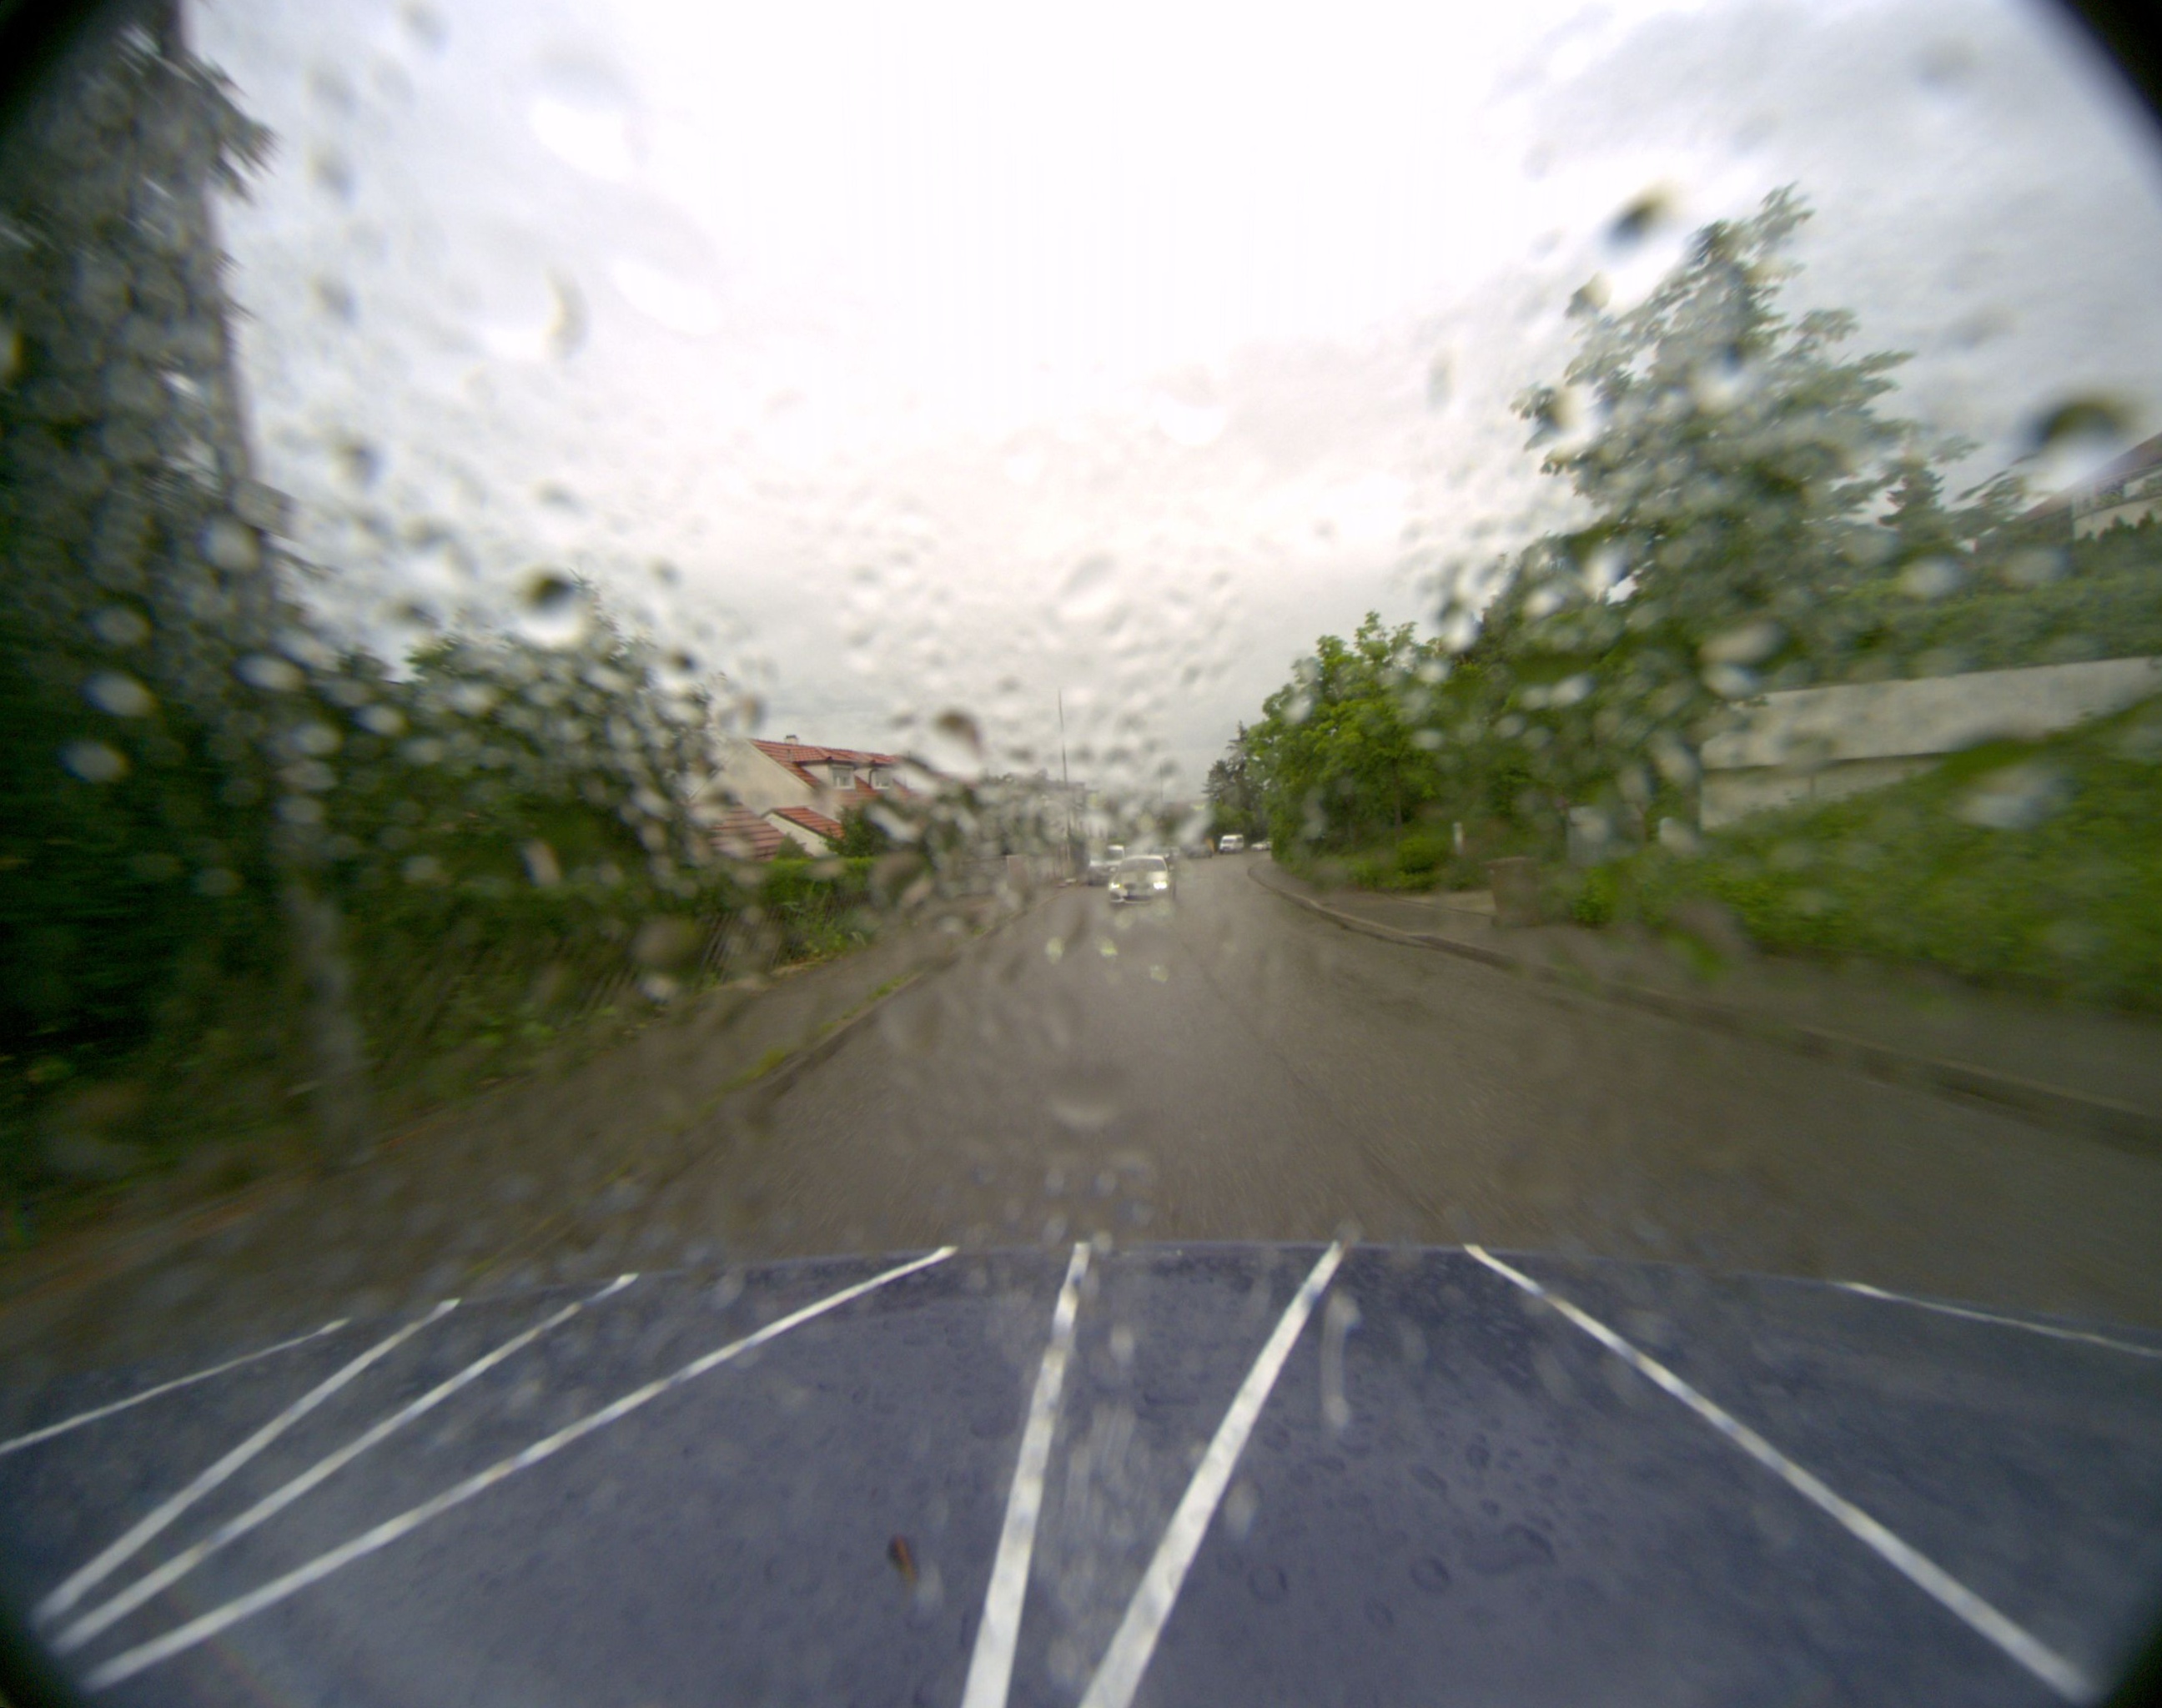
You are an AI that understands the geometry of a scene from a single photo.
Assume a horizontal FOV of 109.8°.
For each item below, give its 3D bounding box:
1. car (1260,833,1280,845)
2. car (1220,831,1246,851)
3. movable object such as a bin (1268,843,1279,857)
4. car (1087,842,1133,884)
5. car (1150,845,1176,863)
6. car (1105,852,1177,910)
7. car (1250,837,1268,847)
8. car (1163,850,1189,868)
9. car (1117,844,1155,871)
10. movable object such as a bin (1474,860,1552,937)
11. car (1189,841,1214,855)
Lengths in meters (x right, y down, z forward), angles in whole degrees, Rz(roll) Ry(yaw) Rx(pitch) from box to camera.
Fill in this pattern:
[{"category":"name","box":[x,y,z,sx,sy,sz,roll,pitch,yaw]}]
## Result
[{"category":"car","box":[29.903,-2.391,120.243,1.866,1.808,4.870,0,2,29]},{"category":"car","box":[20.161,-1.757,100.555,2.074,2.536,6.190,-1,2,24]},{"category":"movable object such as a bin","box":[14.752,-0.299,58.233,0.769,1.062,0.691,-1,2,10]},{"category":"car","box":[1.449,0.365,36.161,1.782,1.793,4.708,-2,1,6]},{"category":"car","box":[6.930,-0.017,63.757,1.661,1.459,3.766,0,1,14]},{"category":"car","box":[1.876,0.732,22.526,1.797,1.455,4.001,-1,2,9]},{"category":"car","box":[26.894,-1.810,114.786,1.750,1.415,4.006,-1,2,28]},{"category":"car","box":[8.651,0.409,68.863,1.771,1.459,4.239,0,1,16]},{"category":"car","box":[3.611,0.203,49.326,1.807,1.617,4.291,0,1,13]},{"category":"movable object such as a bin","box":[6.582,0.682,11.626,0.696,1.083,0.804,-5,-3,8]},{"category":"car","box":[13.206,-0.678,82.964,1.859,1.518,5.069,0,1,19]}]
